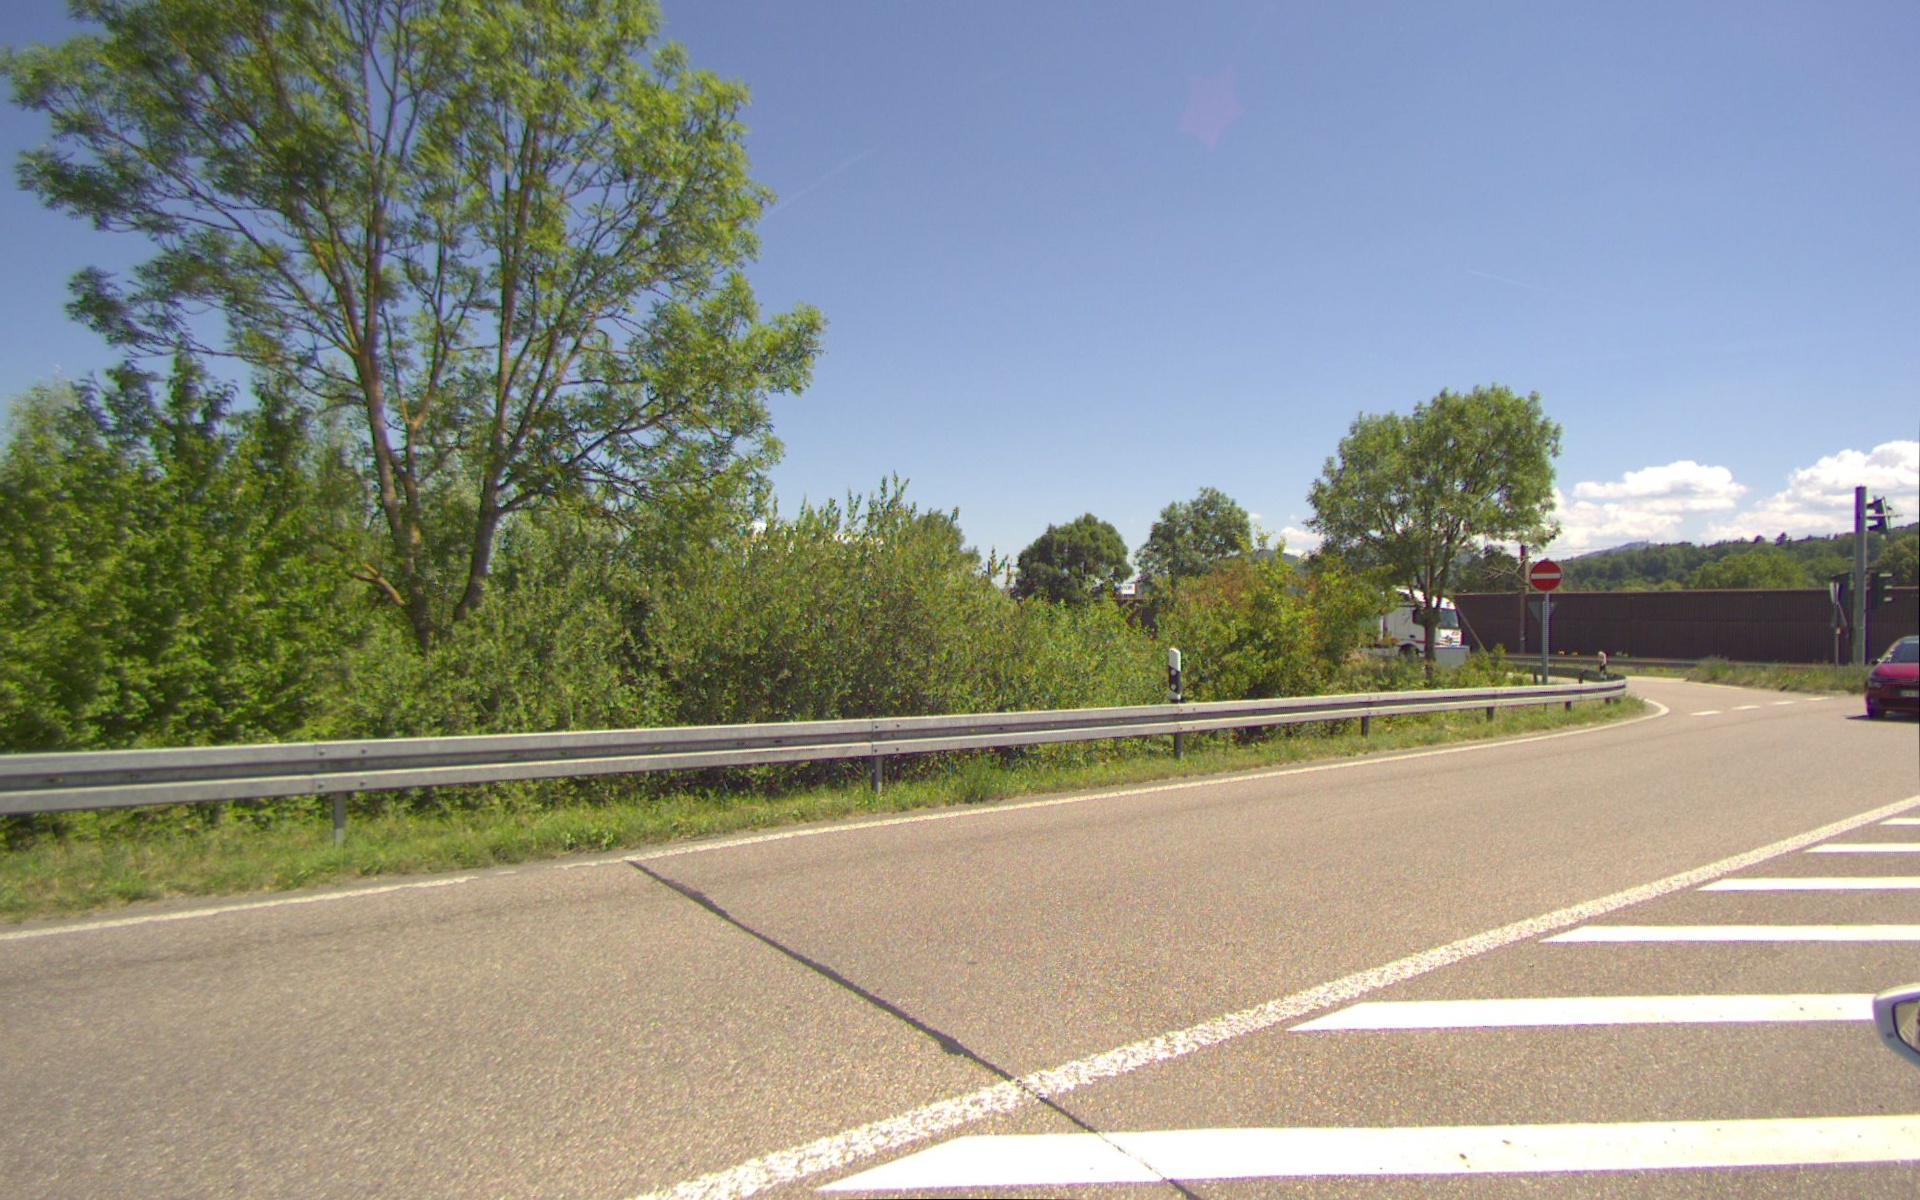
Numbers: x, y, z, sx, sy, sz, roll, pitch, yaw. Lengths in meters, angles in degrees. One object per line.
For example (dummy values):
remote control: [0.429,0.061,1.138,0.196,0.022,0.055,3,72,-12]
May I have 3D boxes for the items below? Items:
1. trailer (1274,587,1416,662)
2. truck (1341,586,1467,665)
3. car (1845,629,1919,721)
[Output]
trailer: [20.068,1.232,52.774,2.493,3.694,6.859,2,-1,-31]
truck: [21.899,1.242,49.753,2.494,3.694,5.232,2,-1,-32]
car: [19.324,1.443,19.796,4.283,1.678,1.980,2,-2,-37]
